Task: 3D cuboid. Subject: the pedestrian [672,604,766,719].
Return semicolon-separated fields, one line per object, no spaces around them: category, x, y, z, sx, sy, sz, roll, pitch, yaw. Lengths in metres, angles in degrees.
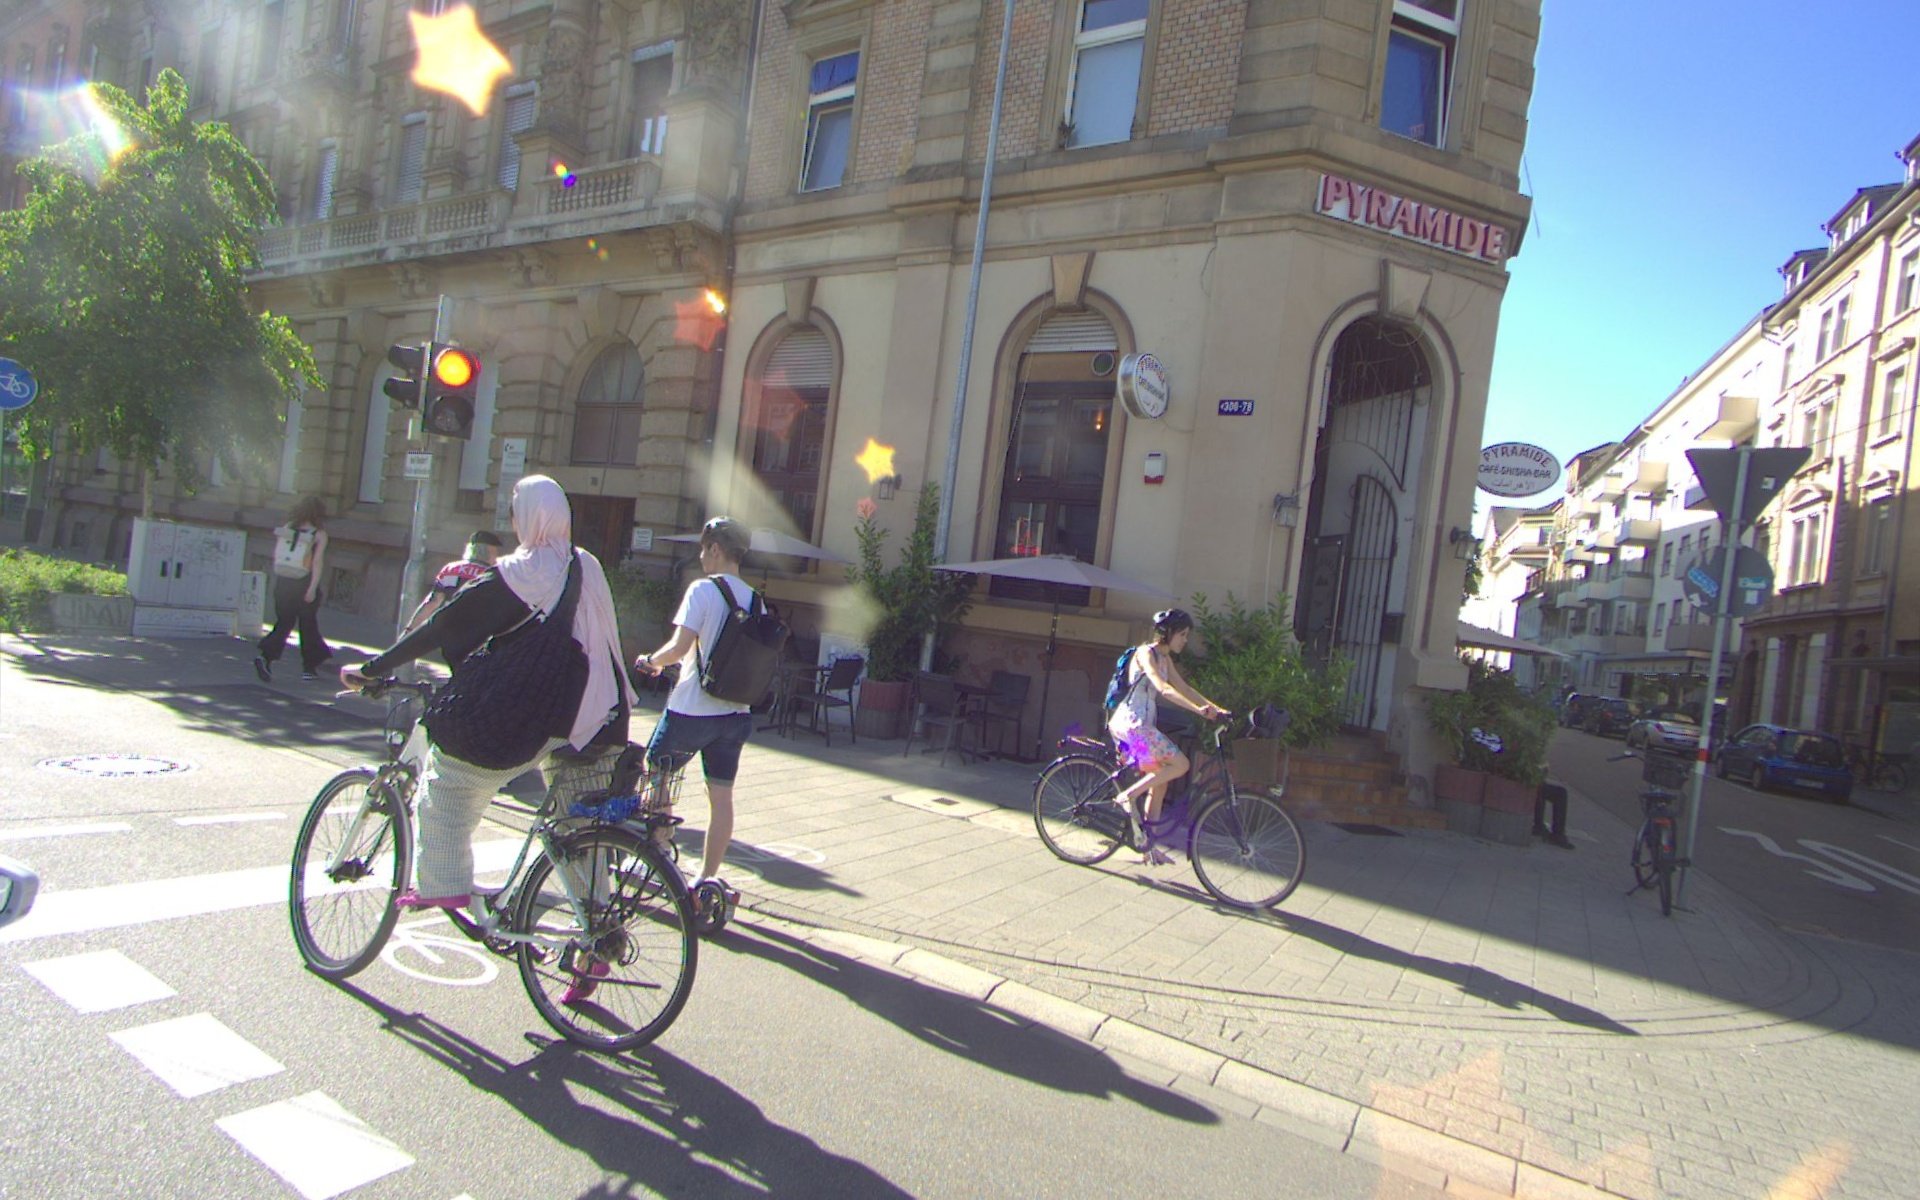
pedestrian;-2.738;0.693;11.447;0.624;1.193;0.706;7;2;31

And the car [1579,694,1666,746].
car;24.077;4.310;36.707;1.769;1.449;3.773;7;-1;22

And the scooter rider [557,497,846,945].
scooter rider;-1.225;0.527;4.815;0.886;1.882;0.668;7;-1;31

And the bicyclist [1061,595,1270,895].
bicyclist;1.301;0.867;6.364;0.944;1.659;0.667;7;0;31

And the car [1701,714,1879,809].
car;18.516;3.532;22.685;1.769;1.437;4.000;9;0;22

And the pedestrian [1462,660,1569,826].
pedestrian;6.607;1.676;12.015;0.852;1.781;0.909;7;-1;25

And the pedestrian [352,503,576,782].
pedestrian;-3.587;0.301;7.318;0.953;1.809;0.867;7;-1;25

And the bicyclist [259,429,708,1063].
bicyclist;-1.537;0.400;3.308;0.854;1.731;0.781;7;-2;31

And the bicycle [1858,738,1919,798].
bicycle;22.226;3.969;23.485;0.621;1.192;2.014;7;0;1

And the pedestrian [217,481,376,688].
pedestrian;-6.746;-0.138;10.288;0.641;1.932;1.079;7;0;7

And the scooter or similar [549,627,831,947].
scooter or similar;-1.304;0.834;4.816;1.151;1.240;0.492;7;-2;31

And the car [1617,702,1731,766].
car;21.826;4.052;30.927;1.769;1.350;4.000;9;0;22

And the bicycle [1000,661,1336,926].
bicycle;1.275;1.137;6.360;1.868;1.237;0.584;7;0;31

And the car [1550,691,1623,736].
car;25.857;4.650;41.651;1.769;1.449;3.773;7;-1;22

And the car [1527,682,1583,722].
car;30.119;5.127;51.011;1.769;1.685;3.772;7;-1;23

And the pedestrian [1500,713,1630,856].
pedestrian;6.142;1.844;10.273;0.917;1.228;0.852;7;-1;25

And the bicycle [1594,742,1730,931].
bicycle;5.705;1.840;8.200;0.643;1.186;1.818;11;2;35

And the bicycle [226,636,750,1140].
bicycle;-1.614;0.799;3.327;1.762;1.105;0.558;7;-2;31

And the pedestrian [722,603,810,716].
pedestrian;-2.330;0.705;12.125;0.624;1.252;0.706;7;2;31
